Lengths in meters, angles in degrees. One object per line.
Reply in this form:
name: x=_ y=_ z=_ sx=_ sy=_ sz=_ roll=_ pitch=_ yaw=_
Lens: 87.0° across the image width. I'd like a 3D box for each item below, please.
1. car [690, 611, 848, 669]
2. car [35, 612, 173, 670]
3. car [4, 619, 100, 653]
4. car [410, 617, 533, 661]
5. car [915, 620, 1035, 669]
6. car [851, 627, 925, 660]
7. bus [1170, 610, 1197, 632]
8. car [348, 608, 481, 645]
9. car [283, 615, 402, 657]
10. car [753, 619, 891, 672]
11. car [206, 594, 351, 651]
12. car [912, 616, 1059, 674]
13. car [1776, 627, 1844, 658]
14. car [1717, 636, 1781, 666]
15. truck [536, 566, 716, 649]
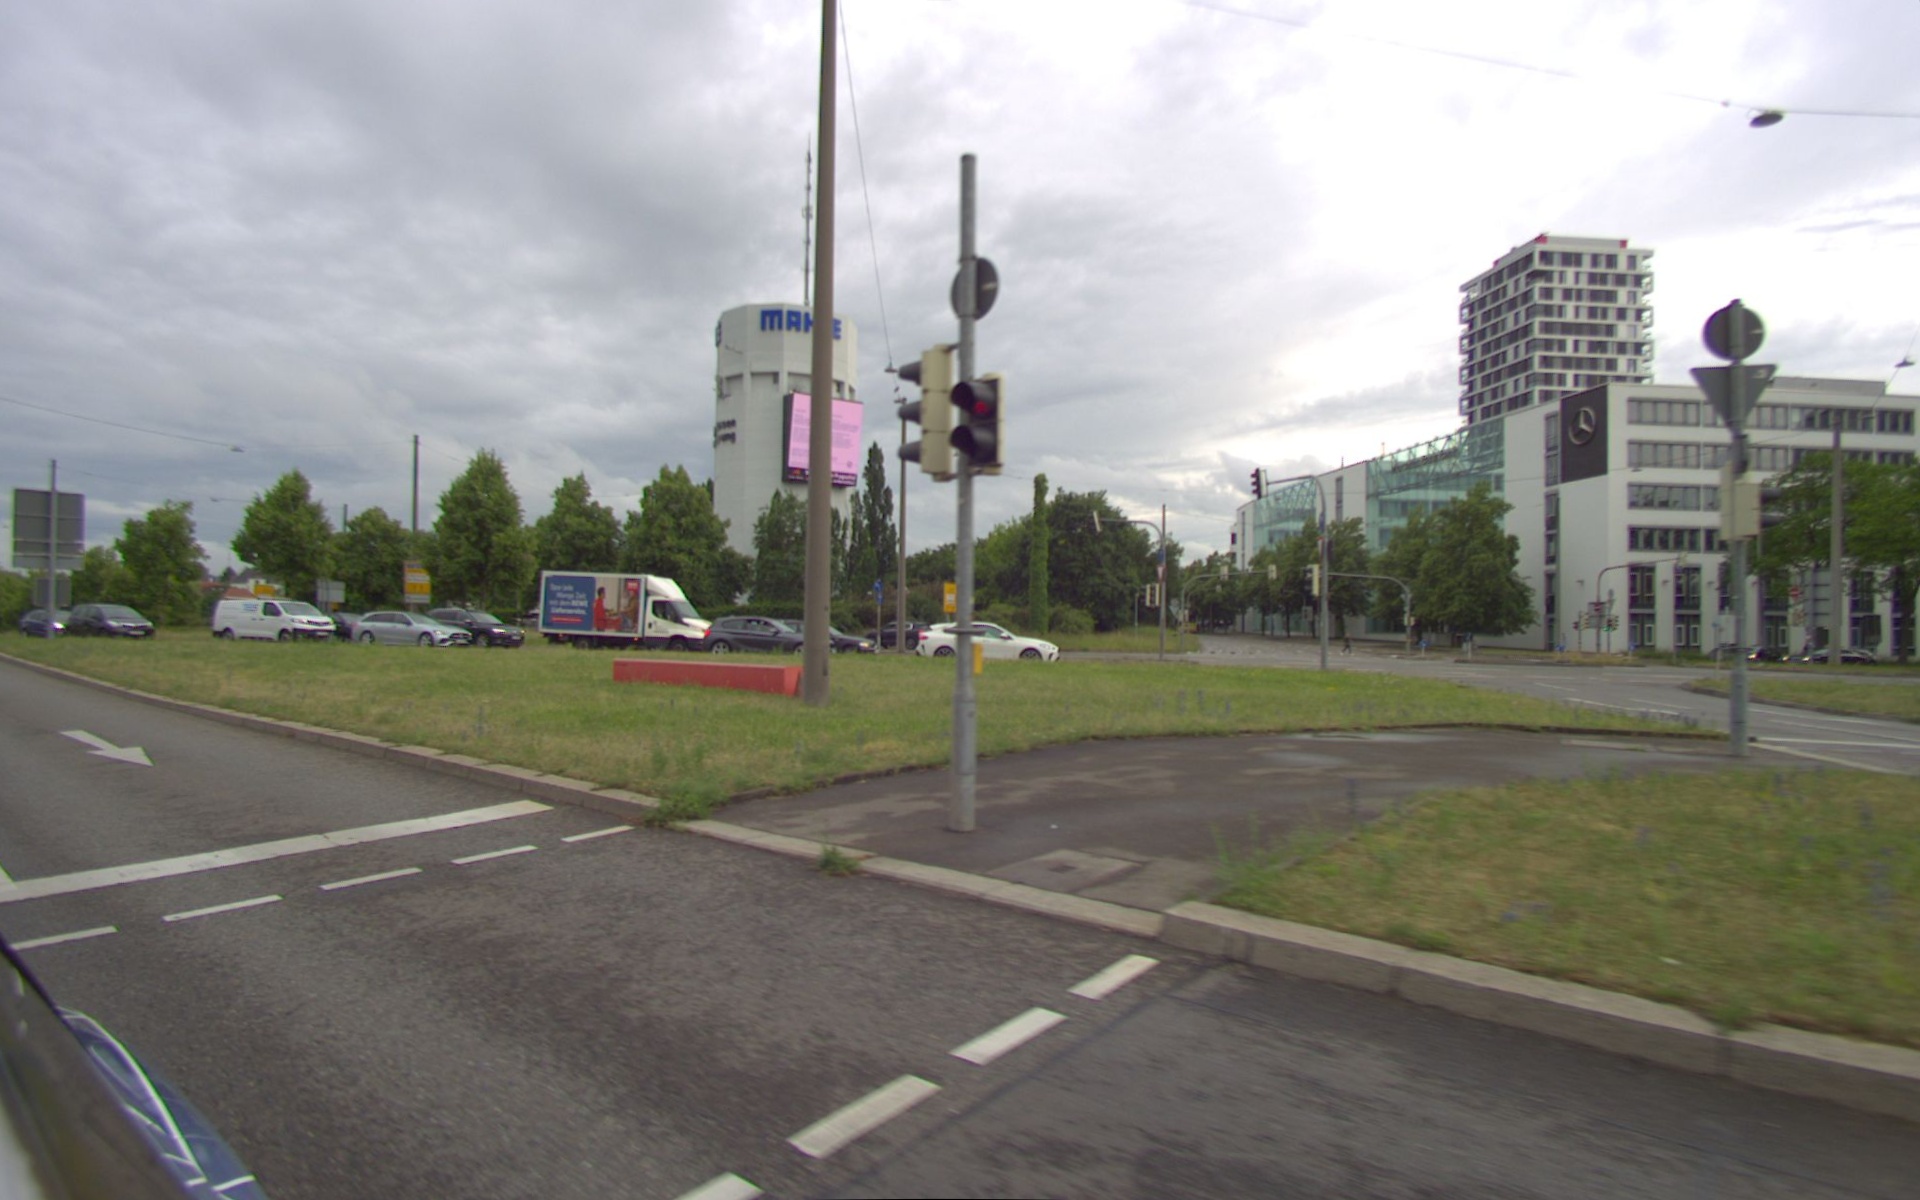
car: x=-5.983 y=1.238 z=31.917 sx=4.472 sy=1.695 sz=1.993 roll=-1 pitch=0 yaw=11
car: x=-34.570 y=1.628 z=40.869 sx=5.132 sy=2.197 sz=1.987 roll=-1 pitch=0 yaw=21
car: x=-47.932 y=1.899 z=53.404 sx=4.489 sy=1.695 sz=1.986 roll=-1 pitch=0 yaw=22
car: x=-20.260 y=1.598 z=42.028 sx=4.482 sy=1.695 sz=1.989 roll=-1 pitch=0 yaw=18
car: x=0.579 y=1.673 z=38.690 sx=4.459 sy=1.695 sz=1.999 roll=-1 pitch=0 yaw=2
car: x=-4.162 y=2.513 z=58.738 sx=3.961 sy=1.831 sz=1.810 roll=-1 pitch=0 yaw=14
bus: x=37.288 y=3.503 z=169.146 sx=2.821 sy=3.352 sz=8.885 roll=-1 pitch=0 yaw=1
car: x=-21.136 y=1.027 z=39.262 sx=4.492 sy=1.320 sz=1.989 roll=-1 pitch=0 yaw=18
car: x=-26.860 y=1.550 z=44.059 sx=4.482 sy=1.695 sz=1.989 roll=-1 pitch=0 yaw=18
car: x=-4.824 y=1.582 z=35.704 sx=4.468 sy=1.695 sz=1.995 roll=-1 pitch=0 yaw=8
car: x=-28.036 y=0.920 z=41.646 sx=5.269 sy=2.197 sz=2.359 roll=-1 pitch=0 yaw=21
car: x=0.811 y=1.375 z=31.675 sx=4.462 sy=1.695 sz=1.998 roll=0 pitch=0 yaw=4
car: x=51.879 y=2.546 z=61.759 sx=3.649 sy=1.688 sz=1.906 roll=-1 pitch=0 yaw=-28
car: x=50.569 y=3.228 z=64.872 sx=3.649 sy=1.688 sz=1.906 roll=-1 pitch=0 yaw=-28
truck: x=-12.201 y=0.276 z=37.140 sx=5.963 sy=2.856 sz=2.125 roll=-1 pitch=0 yaw=9
